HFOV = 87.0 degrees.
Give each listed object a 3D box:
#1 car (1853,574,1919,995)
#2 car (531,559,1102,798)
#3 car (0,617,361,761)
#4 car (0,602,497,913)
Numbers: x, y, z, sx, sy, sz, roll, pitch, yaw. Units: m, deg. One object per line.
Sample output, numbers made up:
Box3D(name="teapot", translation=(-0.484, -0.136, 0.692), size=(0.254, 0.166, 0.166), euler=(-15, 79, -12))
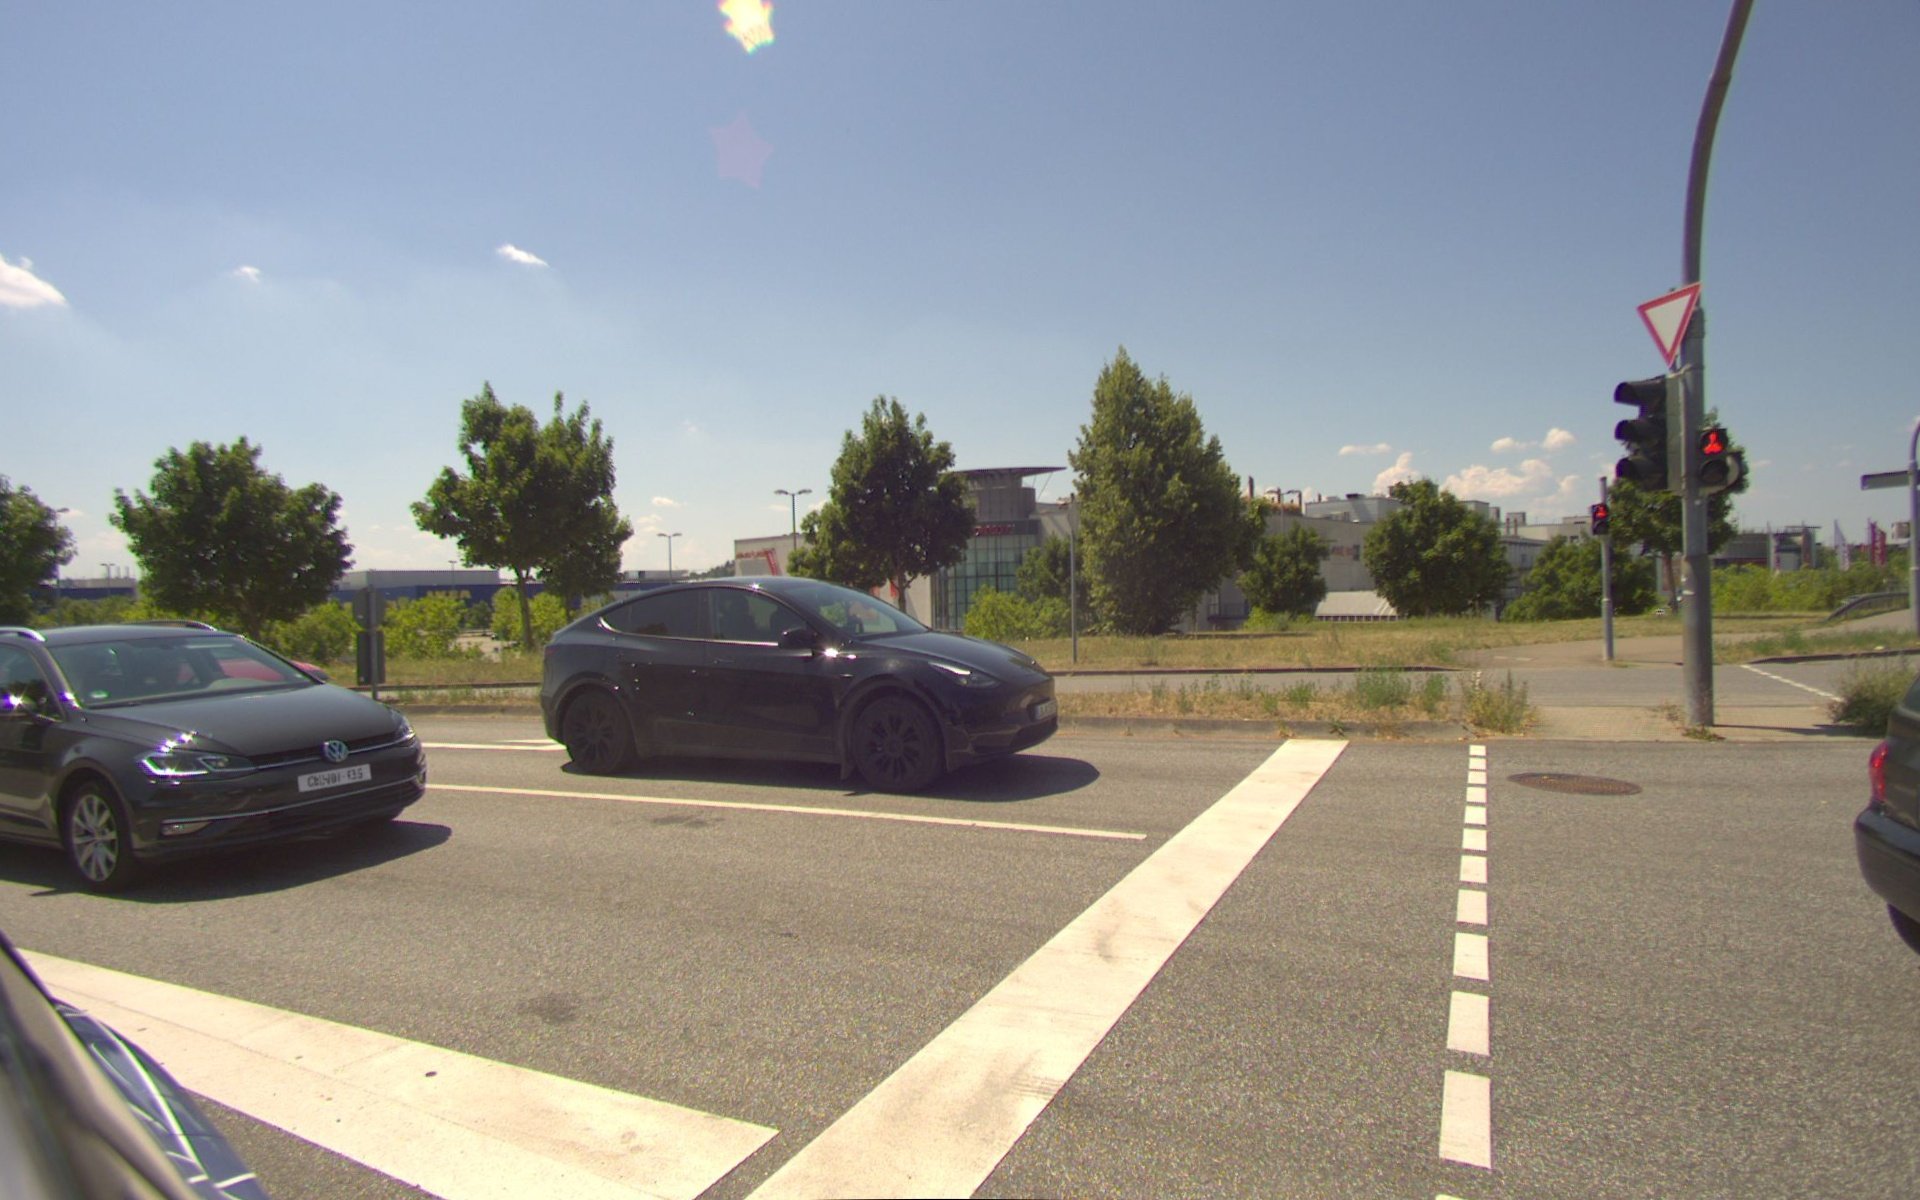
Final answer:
Box3D(name="car", translation=(4.664, 0.628, 2.508), size=(3.274, 1.418, 1.615), euler=(0, 0, 19))
Box3D(name="car", translation=(-1.234, 0.581, 8.590), size=(4.478, 1.613, 1.866), euler=(-2, 0, 24))
Box3D(name="car", translation=(-9.446, 1.001, 12.036), size=(4.420, 1.398, 1.654), euler=(-2, 1, 23))
Box3D(name="car", translation=(-5.419, 0.866, 6.689), size=(4.401, 1.493, 1.770), euler=(-2, 0, 23))
